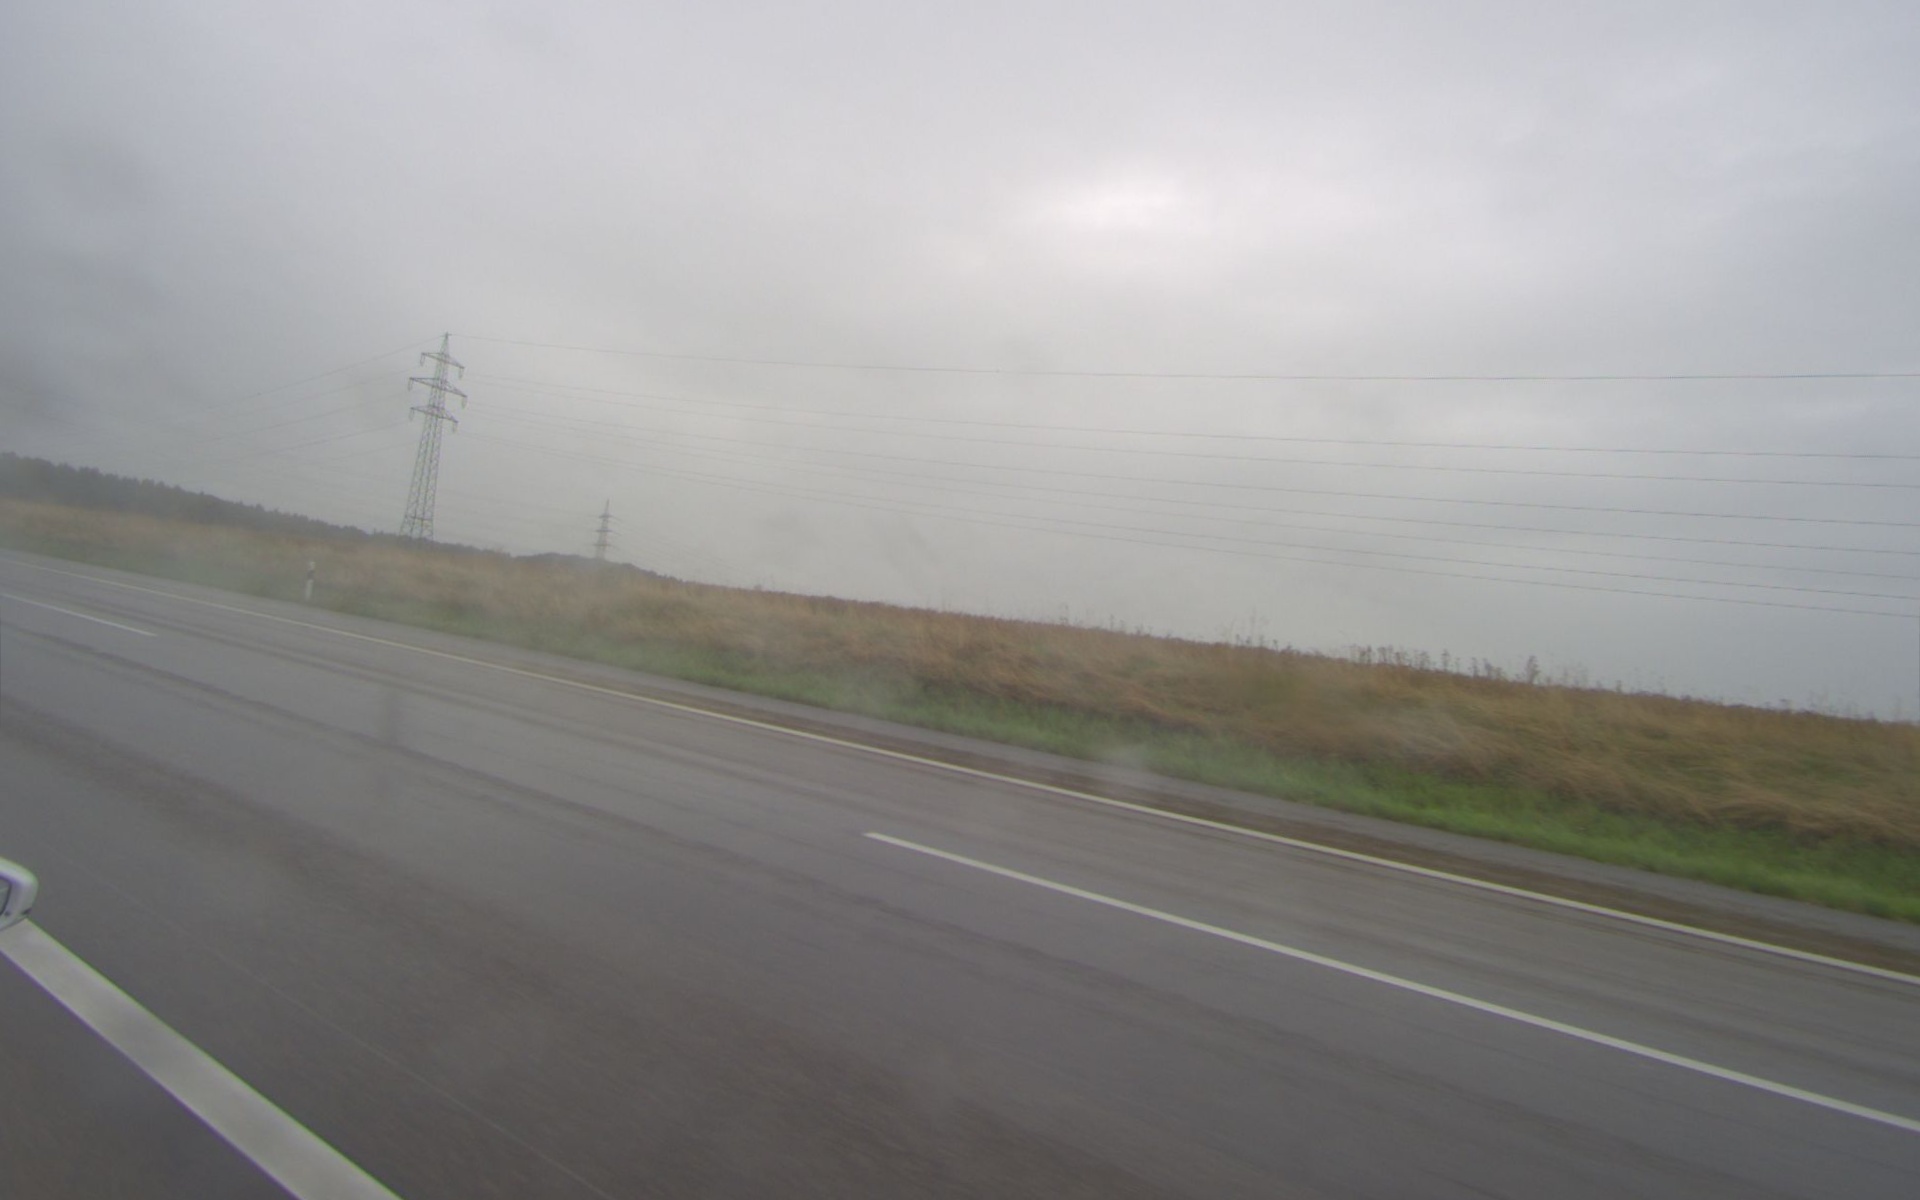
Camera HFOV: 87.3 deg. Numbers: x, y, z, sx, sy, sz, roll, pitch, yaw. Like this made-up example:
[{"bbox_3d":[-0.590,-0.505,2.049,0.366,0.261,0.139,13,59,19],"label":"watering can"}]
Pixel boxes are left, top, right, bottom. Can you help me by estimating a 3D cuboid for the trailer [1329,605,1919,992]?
[{"bbox_3d":[5.200,1.344,7.822,3.931,2.037,1.998,7,-1,29],"label":"trailer"}]
